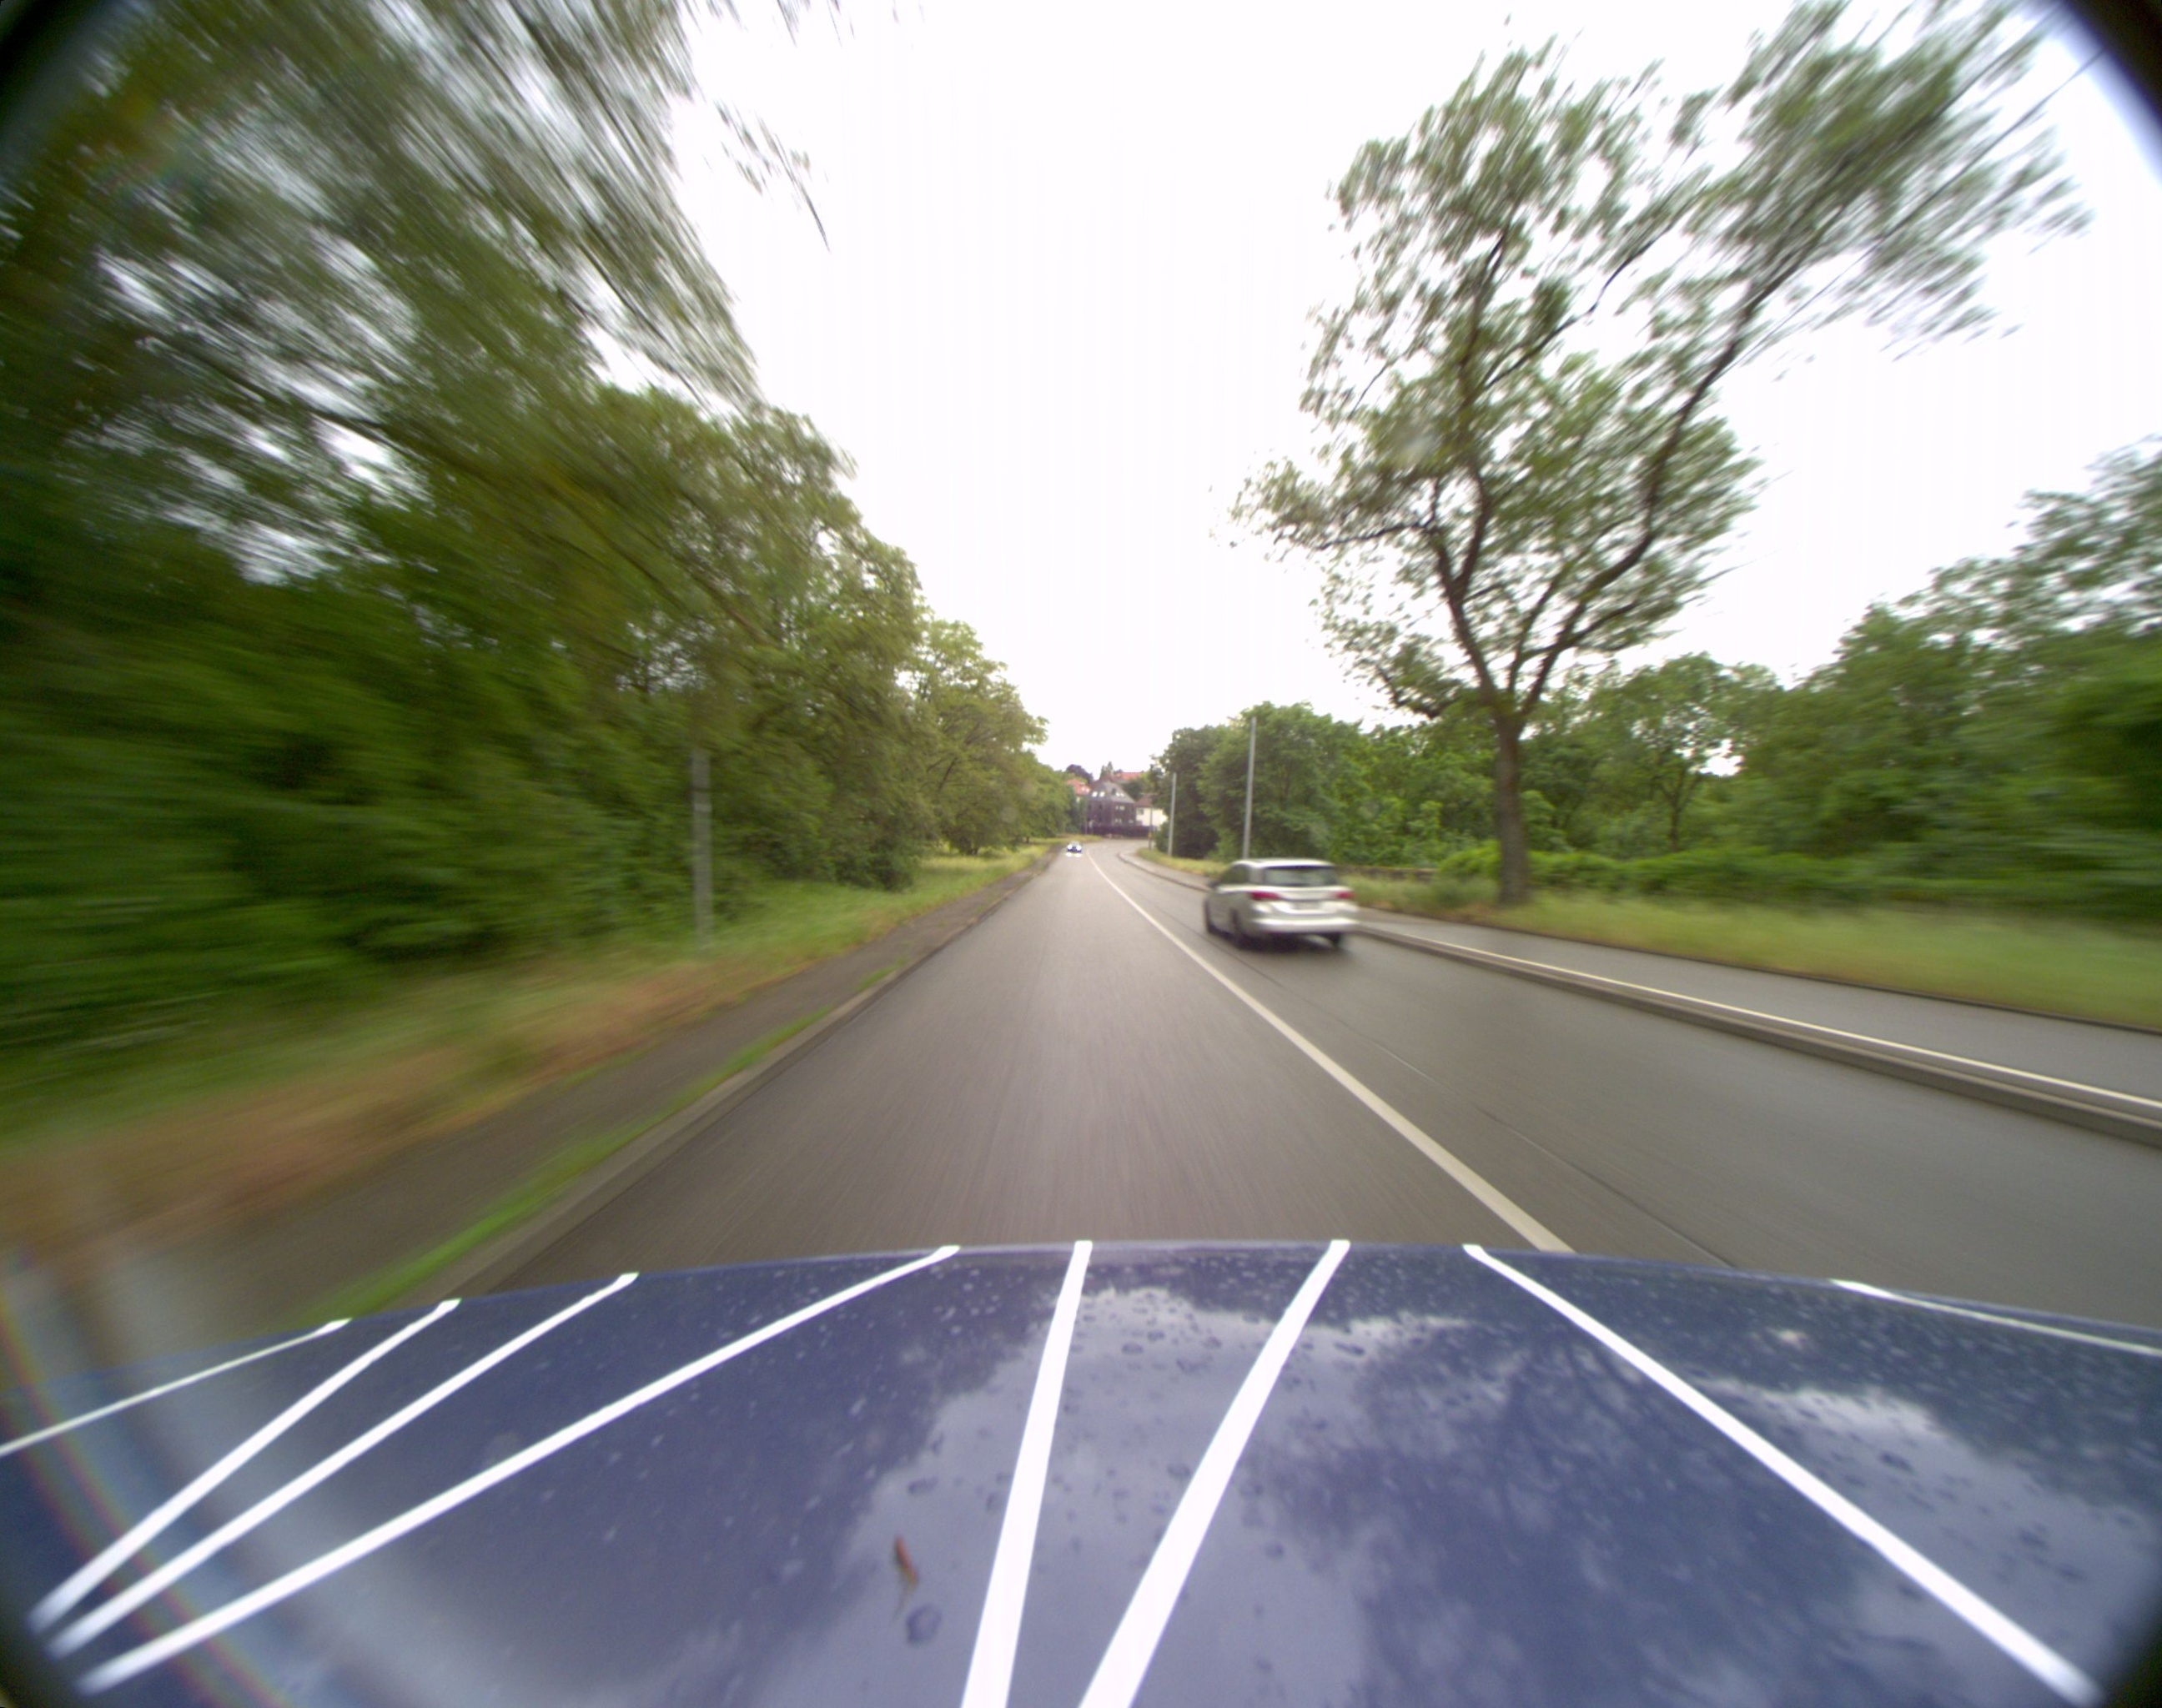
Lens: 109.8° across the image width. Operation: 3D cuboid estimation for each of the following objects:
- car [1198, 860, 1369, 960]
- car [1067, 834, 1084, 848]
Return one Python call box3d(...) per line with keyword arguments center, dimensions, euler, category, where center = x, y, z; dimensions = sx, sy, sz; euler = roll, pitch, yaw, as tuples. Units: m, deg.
box3d(center=(3.324, 0.842, 13.418), dimensions=(1.784, 1.422, 4.474), euler=(-1, 0, 0), category="car")
box3d(center=(-0.673, -1.748, 99.880), dimensions=(1.998, 1.707, 3.999), euler=(0, 2, 3), category="car")
